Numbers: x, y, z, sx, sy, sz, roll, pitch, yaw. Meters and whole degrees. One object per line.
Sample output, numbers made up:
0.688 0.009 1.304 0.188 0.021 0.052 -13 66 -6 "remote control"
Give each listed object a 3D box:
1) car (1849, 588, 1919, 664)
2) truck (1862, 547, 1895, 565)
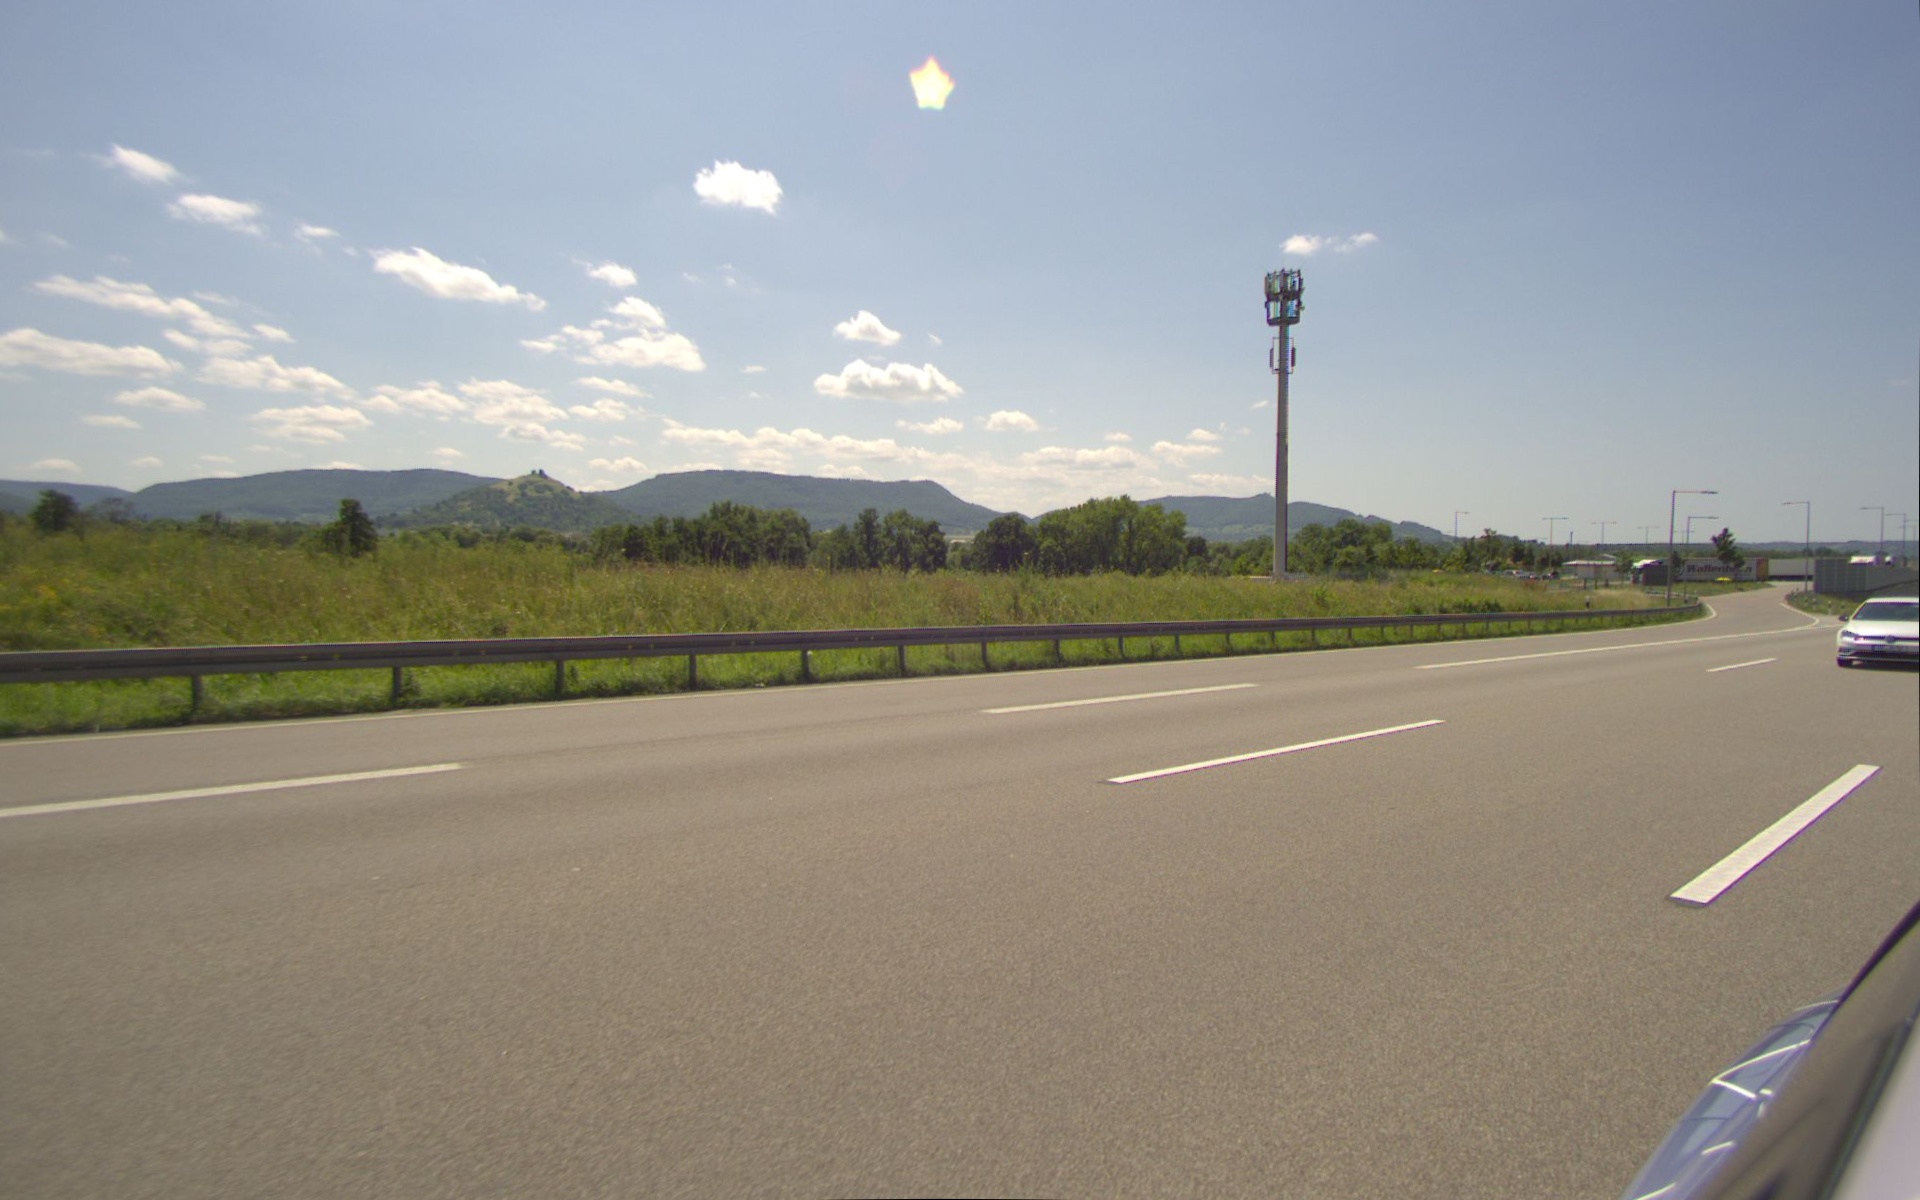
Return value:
20.358 0.496 21.414 4.610 1.451 1.779 -1 1 -42 "car"
123.764 -5.960 136.340 7.165 2.232 2.710 -1 1 -43 "truck"
